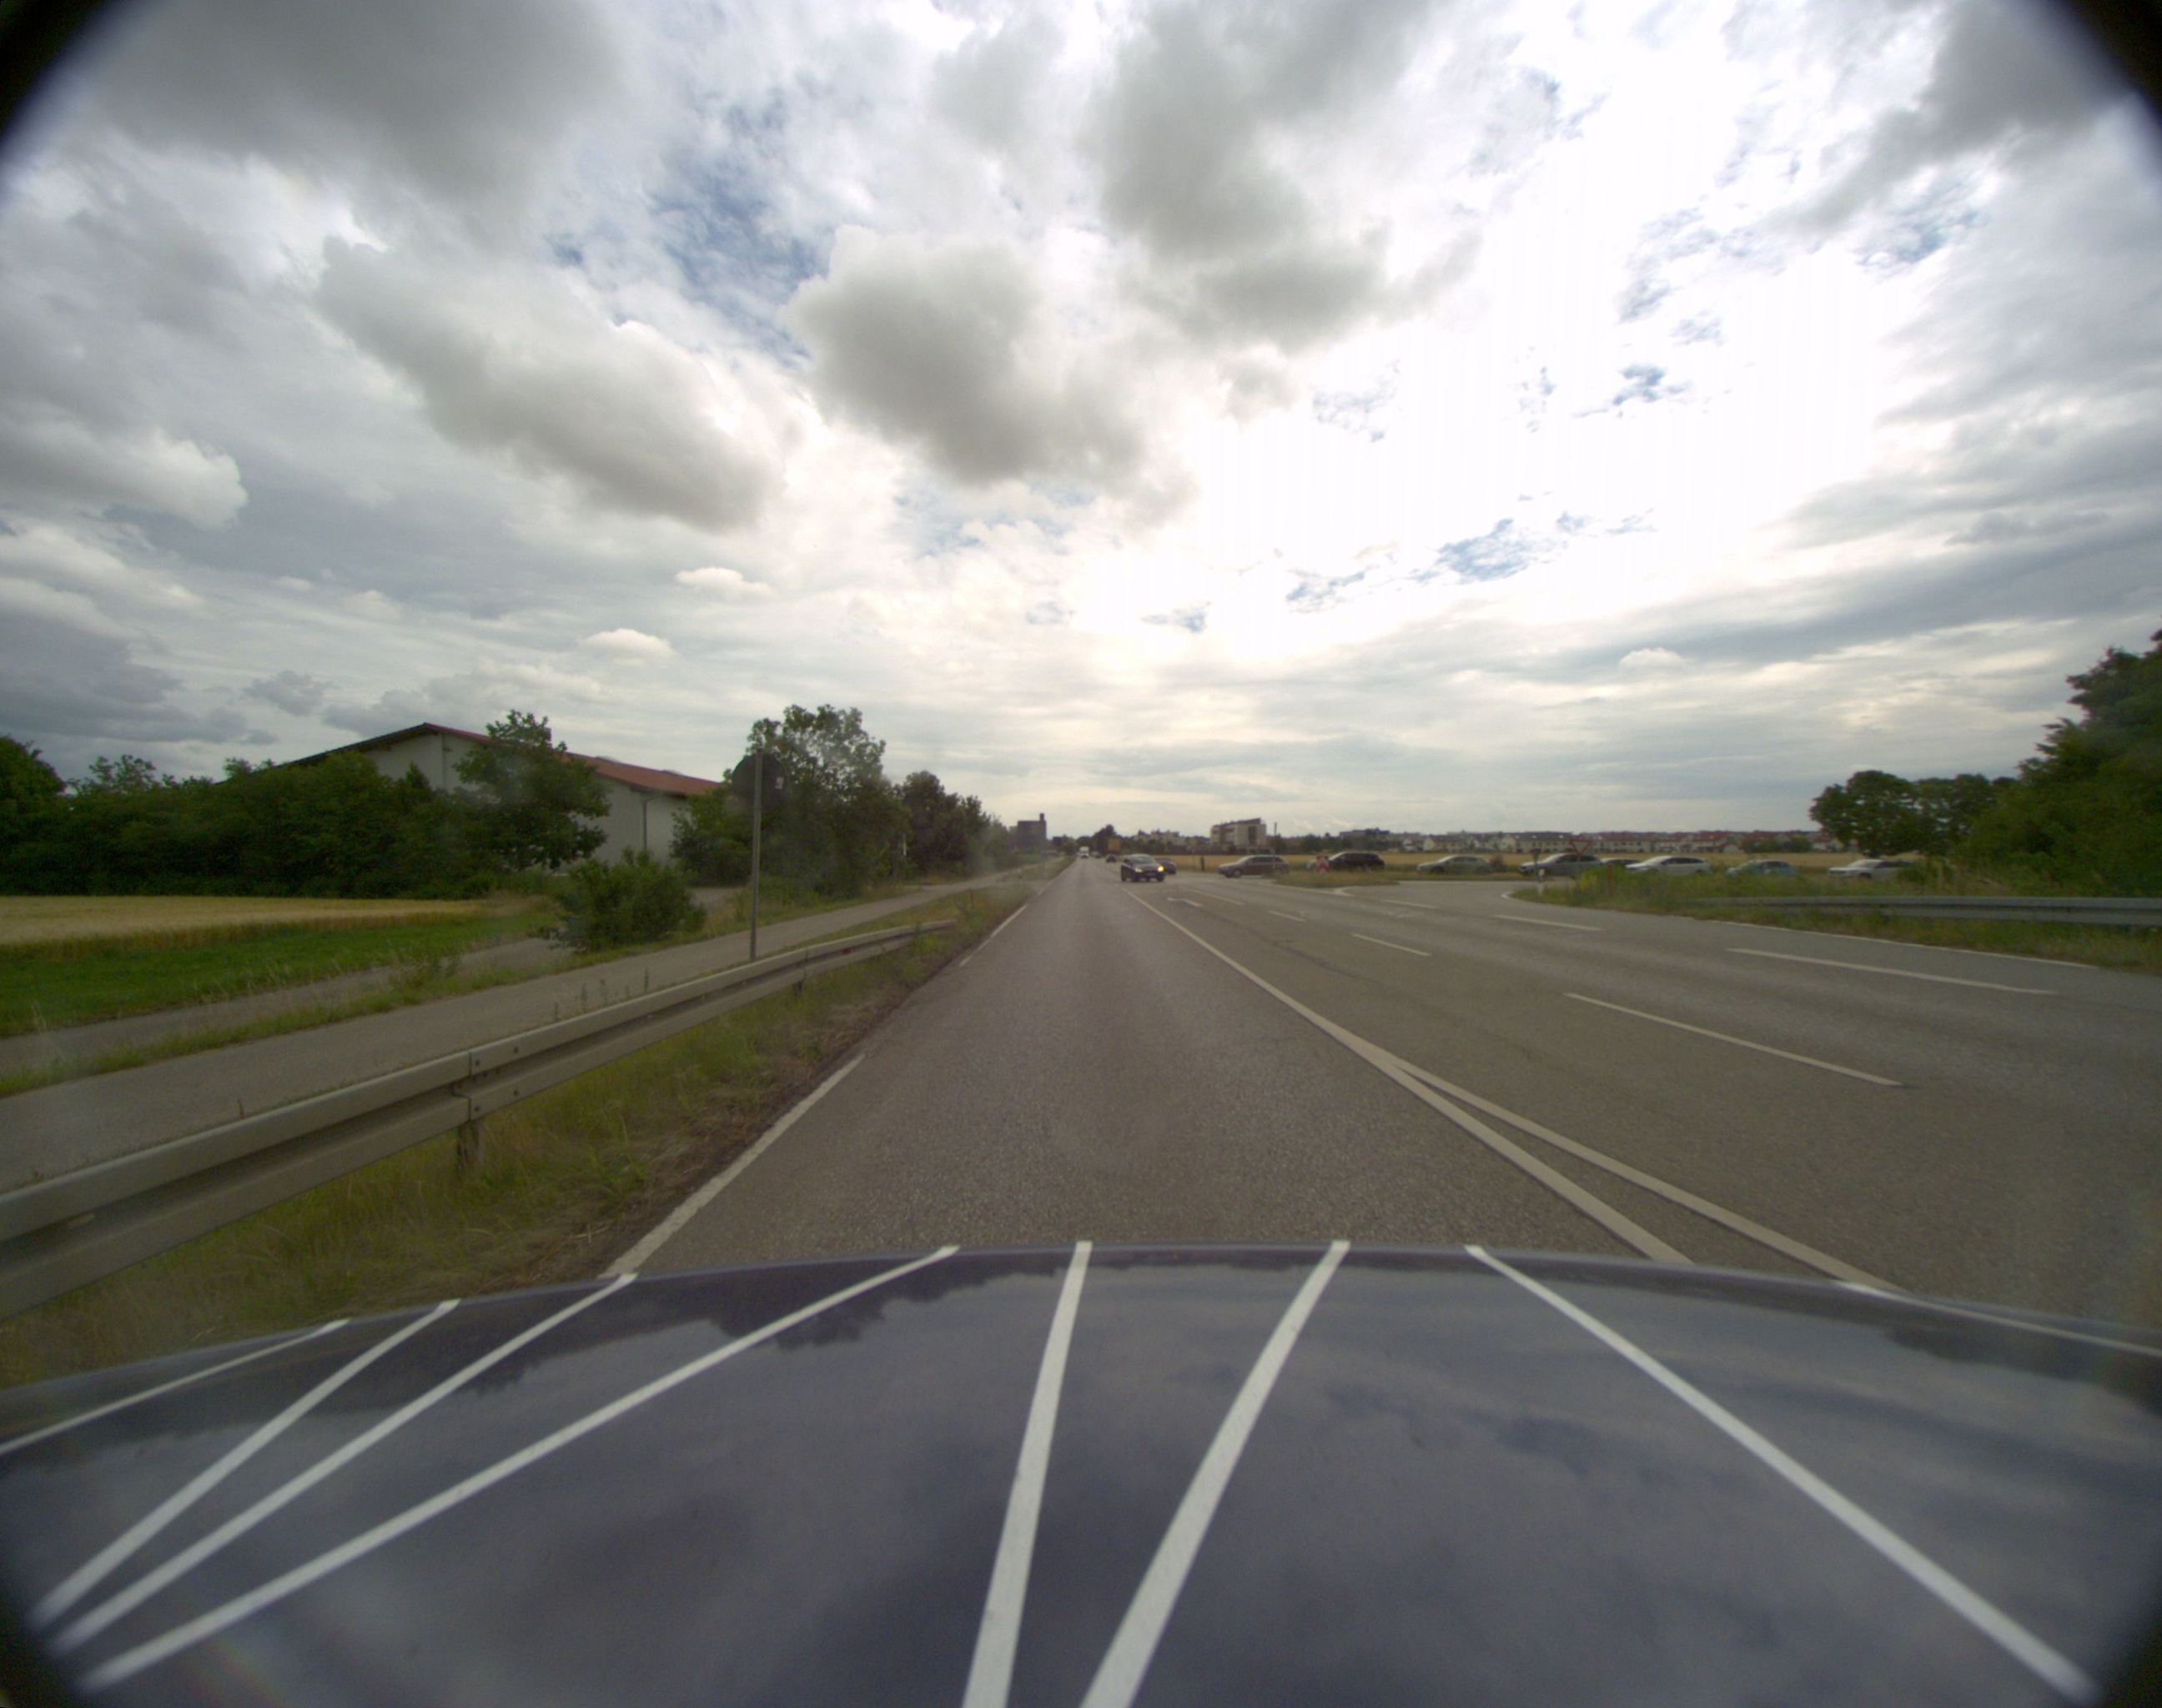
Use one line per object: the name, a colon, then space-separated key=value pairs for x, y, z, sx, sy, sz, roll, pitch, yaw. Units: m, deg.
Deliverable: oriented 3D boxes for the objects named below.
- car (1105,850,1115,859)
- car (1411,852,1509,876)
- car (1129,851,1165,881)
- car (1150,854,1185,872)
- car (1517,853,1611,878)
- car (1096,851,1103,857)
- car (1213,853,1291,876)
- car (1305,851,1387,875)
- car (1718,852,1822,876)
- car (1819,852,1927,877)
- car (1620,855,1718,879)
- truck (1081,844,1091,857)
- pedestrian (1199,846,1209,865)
car: x=5.202 y=0.068 z=137.219 sx=1.683 sy=1.512 sz=4.395 roll=-2 pitch=1 yaw=0
car: x=24.267 y=0.633 z=48.800 sx=5.295 sy=1.512 sz=1.912 roll=0 pitch=1 yaw=6
car: x=3.913 y=0.675 z=45.784 sx=1.707 sy=1.602 sz=4.481 roll=-2 pitch=0 yaw=-1
car: x=6.818 y=0.711 z=60.353 sx=2.170 sy=1.277 sz=4.236 roll=-2 pitch=0 yaw=0
car: x=30.528 y=0.709 z=48.155 sx=4.633 sy=1.508 sz=1.912 roll=0 pitch=1 yaw=6
car: x=4.977 y=0.036 z=206.573 sx=1.740 sy=1.450 sz=4.131 roll=-1 pitch=0 yaw=-1
car: x=10.961 y=0.655 z=48.869 sx=4.465 sy=1.416 sz=1.909 roll=0 pitch=1 yaw=-8
car: x=17.118 y=0.588 z=49.267 sx=4.749 sy=1.523 sz=1.912 roll=0 pitch=1 yaw=6
car: x=42.529 y=0.608 z=47.021 sx=4.500 sy=1.474 sz=1.912 roll=0 pitch=1 yaw=6
car: x=48.596 y=0.605 z=46.700 sx=4.501 sy=1.474 sz=1.911 roll=0 pitch=1 yaw=3
car: x=36.620 y=0.805 z=47.417 sx=4.500 sy=1.474 sz=1.912 roll=0 pitch=1 yaw=6
truck: x=1.541 y=-1.094 z=217.584 sx=2.813 sy=3.588 sz=11.218 roll=0 pitch=0 yaw=1
pedestrian: x=10.538 y=0.110 z=65.161 sx=0.595 sy=1.596 sz=0.866 roll=2 pitch=1 yaw=-2
